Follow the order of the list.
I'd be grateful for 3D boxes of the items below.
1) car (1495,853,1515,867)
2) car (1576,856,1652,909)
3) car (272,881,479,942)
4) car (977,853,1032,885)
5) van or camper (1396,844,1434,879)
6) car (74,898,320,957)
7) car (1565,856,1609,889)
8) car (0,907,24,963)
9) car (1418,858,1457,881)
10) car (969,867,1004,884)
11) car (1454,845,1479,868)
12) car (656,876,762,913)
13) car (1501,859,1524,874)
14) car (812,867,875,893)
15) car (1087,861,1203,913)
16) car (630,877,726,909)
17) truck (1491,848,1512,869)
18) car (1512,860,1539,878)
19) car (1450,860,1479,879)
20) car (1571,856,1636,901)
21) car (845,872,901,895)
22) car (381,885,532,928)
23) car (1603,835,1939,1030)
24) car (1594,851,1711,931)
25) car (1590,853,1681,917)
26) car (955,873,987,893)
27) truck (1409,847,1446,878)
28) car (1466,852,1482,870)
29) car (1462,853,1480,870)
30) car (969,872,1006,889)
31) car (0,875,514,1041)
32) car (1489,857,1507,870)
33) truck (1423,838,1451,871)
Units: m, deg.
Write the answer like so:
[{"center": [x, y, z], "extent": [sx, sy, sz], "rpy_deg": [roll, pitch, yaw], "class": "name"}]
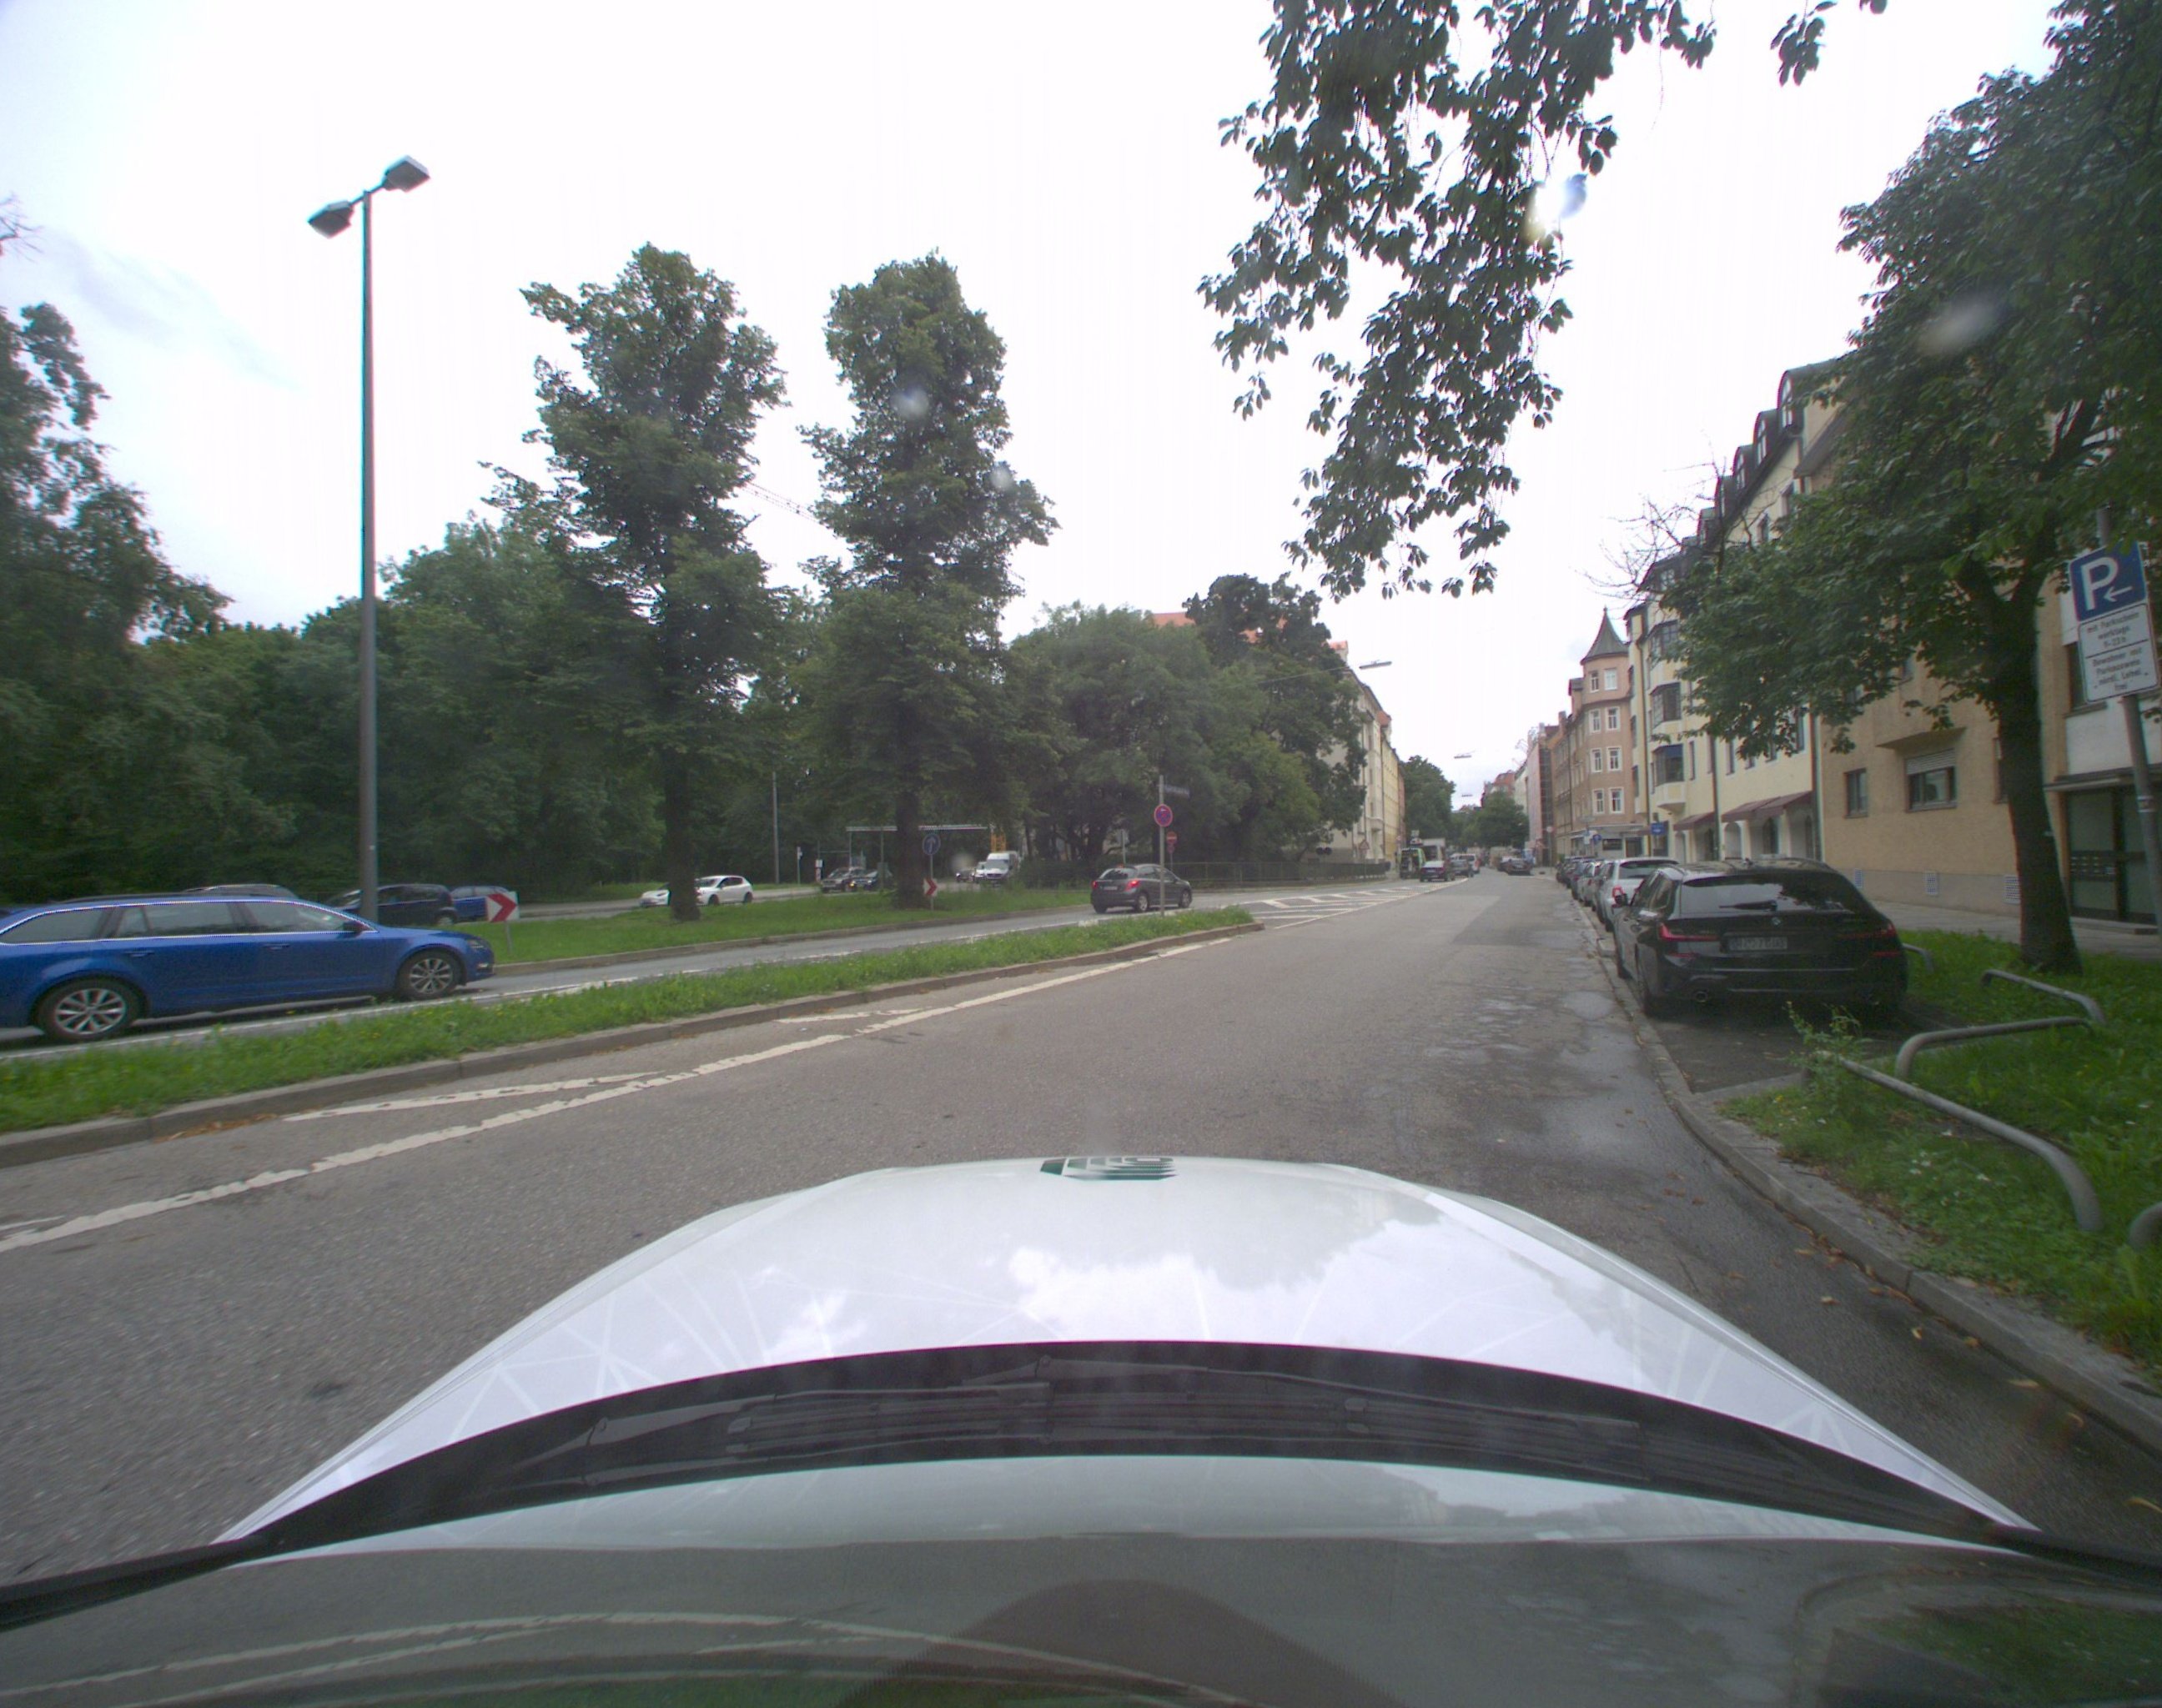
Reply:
[{"center": [48.055, 0.643, 92.345], "extent": [1.971, 1.429, 4.165], "rpy_deg": [-2, 0, 26], "class": "car"}, {"center": [16.815, 0.864, 25.858], "extent": [1.674, 1.496, 4.461], "rpy_deg": [-4, -2, 30], "class": "car"}, {"center": [-19.903, 1.577, 23.207], "extent": [1.876, 1.446, 4.051], "rpy_deg": [-2, -1, 17], "class": "car"}, {"center": [-5.809, 1.132, 62.375], "extent": [2.282, 2.270, 5.151], "rpy_deg": [-2, -1, 18], "class": "car"}, {"center": [29.320, 0.624, 71.423], "extent": [2.576, 2.840, 6.222], "rpy_deg": [-2, 0, 26], "class": "van or camper"}, {"center": [-27.322, 2.217, 25.432], "extent": [1.977, 1.446, 4.791], "rpy_deg": [-3, -2, 18], "class": "car"}, {"center": [25.603, 0.908, 41.188], "extent": [1.739, 1.496, 3.847], "rpy_deg": [-4, -2, 32], "class": "car"}, {"center": [-29.648, 2.147, 19.839], "extent": [1.977, 1.446, 4.338], "rpy_deg": [-3, -2, 18], "class": "car"}, {"center": [25.137, 1.058, 57.351], "extent": [1.971, 1.429, 4.936], "rpy_deg": [-2, 0, 29], "class": "car"}, {"center": [-8.438, 1.905, 73.117], "extent": [1.880, 1.446, 4.311], "rpy_deg": [-2, -1, 10], "class": "car"}, {"center": [36.663, 0.185, 77.401], "extent": [1.971, 2.075, 4.165], "rpy_deg": [-2, 0, 26], "class": "car"}, {"center": [-16.264, 1.743, 35.859], "extent": [1.813, 1.446, 4.254], "rpy_deg": [-3, -2, 16], "class": "car"}, {"center": [45.026, 1.248, 85.007], "extent": [1.827, 1.429, 4.331], "rpy_deg": [1, 1, 25], "class": "car"}, {"center": [-17.087, 1.865, 58.842], "extent": [1.978, 1.718, 4.669], "rpy_deg": [-3, -2, 18], "class": "car"}, {"center": [2.097, 0.994, 25.551], "extent": [1.741, 1.461, 4.100], "rpy_deg": [-3, -2, 35], "class": "car"}, {"center": [-21.239, 2.033, 43.091], "extent": [1.978, 1.446, 4.443], "rpy_deg": [-3, -2, 18], "class": "car"}, {"center": [59.794, 0.635, 115.849], "extent": [2.469, 2.973, 5.358], "rpy_deg": [-1, -1, 25], "class": "truck"}, {"center": [39.169, 1.300, 71.827], "extent": [1.827, 1.429, 4.207], "rpy_deg": [1, 1, 25], "class": "car"}, {"center": [31.334, 1.248, 66.469], "extent": [1.971, 1.429, 4.165], "rpy_deg": [-2, 0, 26], "class": "car"}, {"center": [19.419, 0.892, 30.411], "extent": [1.739, 1.496, 4.515], "rpy_deg": [-4, -2, 30], "class": "car"}, {"center": [-14.431, 2.032, 56.785], "extent": [1.876, 1.446, 4.051], "rpy_deg": [-2, -1, 17], "class": "car"}, {"center": [-24.946, 2.057, 32.743], "extent": [1.978, 1.446, 4.443], "rpy_deg": [-3, -2, 18], "class": "car"}, {"center": [6.778, 0.685, 8.582], "extent": [1.774, 1.497, 4.403], "rpy_deg": [-5, -3, 29], "class": "car"}, {"center": [12.005, 0.741, 17.315], "extent": [1.612, 1.496, 3.844], "rpy_deg": [-4, -2, 30], "class": "car"}, {"center": [14.465, 0.784, 21.420], "extent": [1.612, 1.496, 3.810], "rpy_deg": [-4, -2, 30], "class": "car"}, {"center": [-11.215, 2.950, 83.164], "extent": [1.678, 1.874, 4.016], "rpy_deg": [-2, -1, 15], "class": "car"}, {"center": [34.244, 0.808, 80.380], "extent": [2.747, 2.873, 7.245], "rpy_deg": [-2, 0, 27], "class": "truck"}, {"center": [56.919, 0.970, 117.857], "extent": [1.921, 2.480, 4.811], "rpy_deg": [-2, -1, 27], "class": "car"}, {"center": [49.970, 0.974, 104.470], "extent": [1.975, 2.014, 4.023], "rpy_deg": [-2, -1, 25], "class": "car"}, {"center": [-8.961, 2.507, 78.294], "extent": [1.876, 1.446, 4.408], "rpy_deg": [-2, -1, 17], "class": "car"}, {"center": [-9.817, 1.042, 9.589], "extent": [1.968, 1.454, 4.764], "rpy_deg": [-3, -2, 34], "class": "car"}, {"center": [51.873, 1.174, 101.390], "extent": [1.971, 1.429, 4.165], "rpy_deg": [-2, 0, 26], "class": "car"}, {"center": [44.385, 0.130, 101.421], "extent": [2.985, 3.952, 7.035], "rpy_deg": [-1, -1, 24], "class": "truck"}]
